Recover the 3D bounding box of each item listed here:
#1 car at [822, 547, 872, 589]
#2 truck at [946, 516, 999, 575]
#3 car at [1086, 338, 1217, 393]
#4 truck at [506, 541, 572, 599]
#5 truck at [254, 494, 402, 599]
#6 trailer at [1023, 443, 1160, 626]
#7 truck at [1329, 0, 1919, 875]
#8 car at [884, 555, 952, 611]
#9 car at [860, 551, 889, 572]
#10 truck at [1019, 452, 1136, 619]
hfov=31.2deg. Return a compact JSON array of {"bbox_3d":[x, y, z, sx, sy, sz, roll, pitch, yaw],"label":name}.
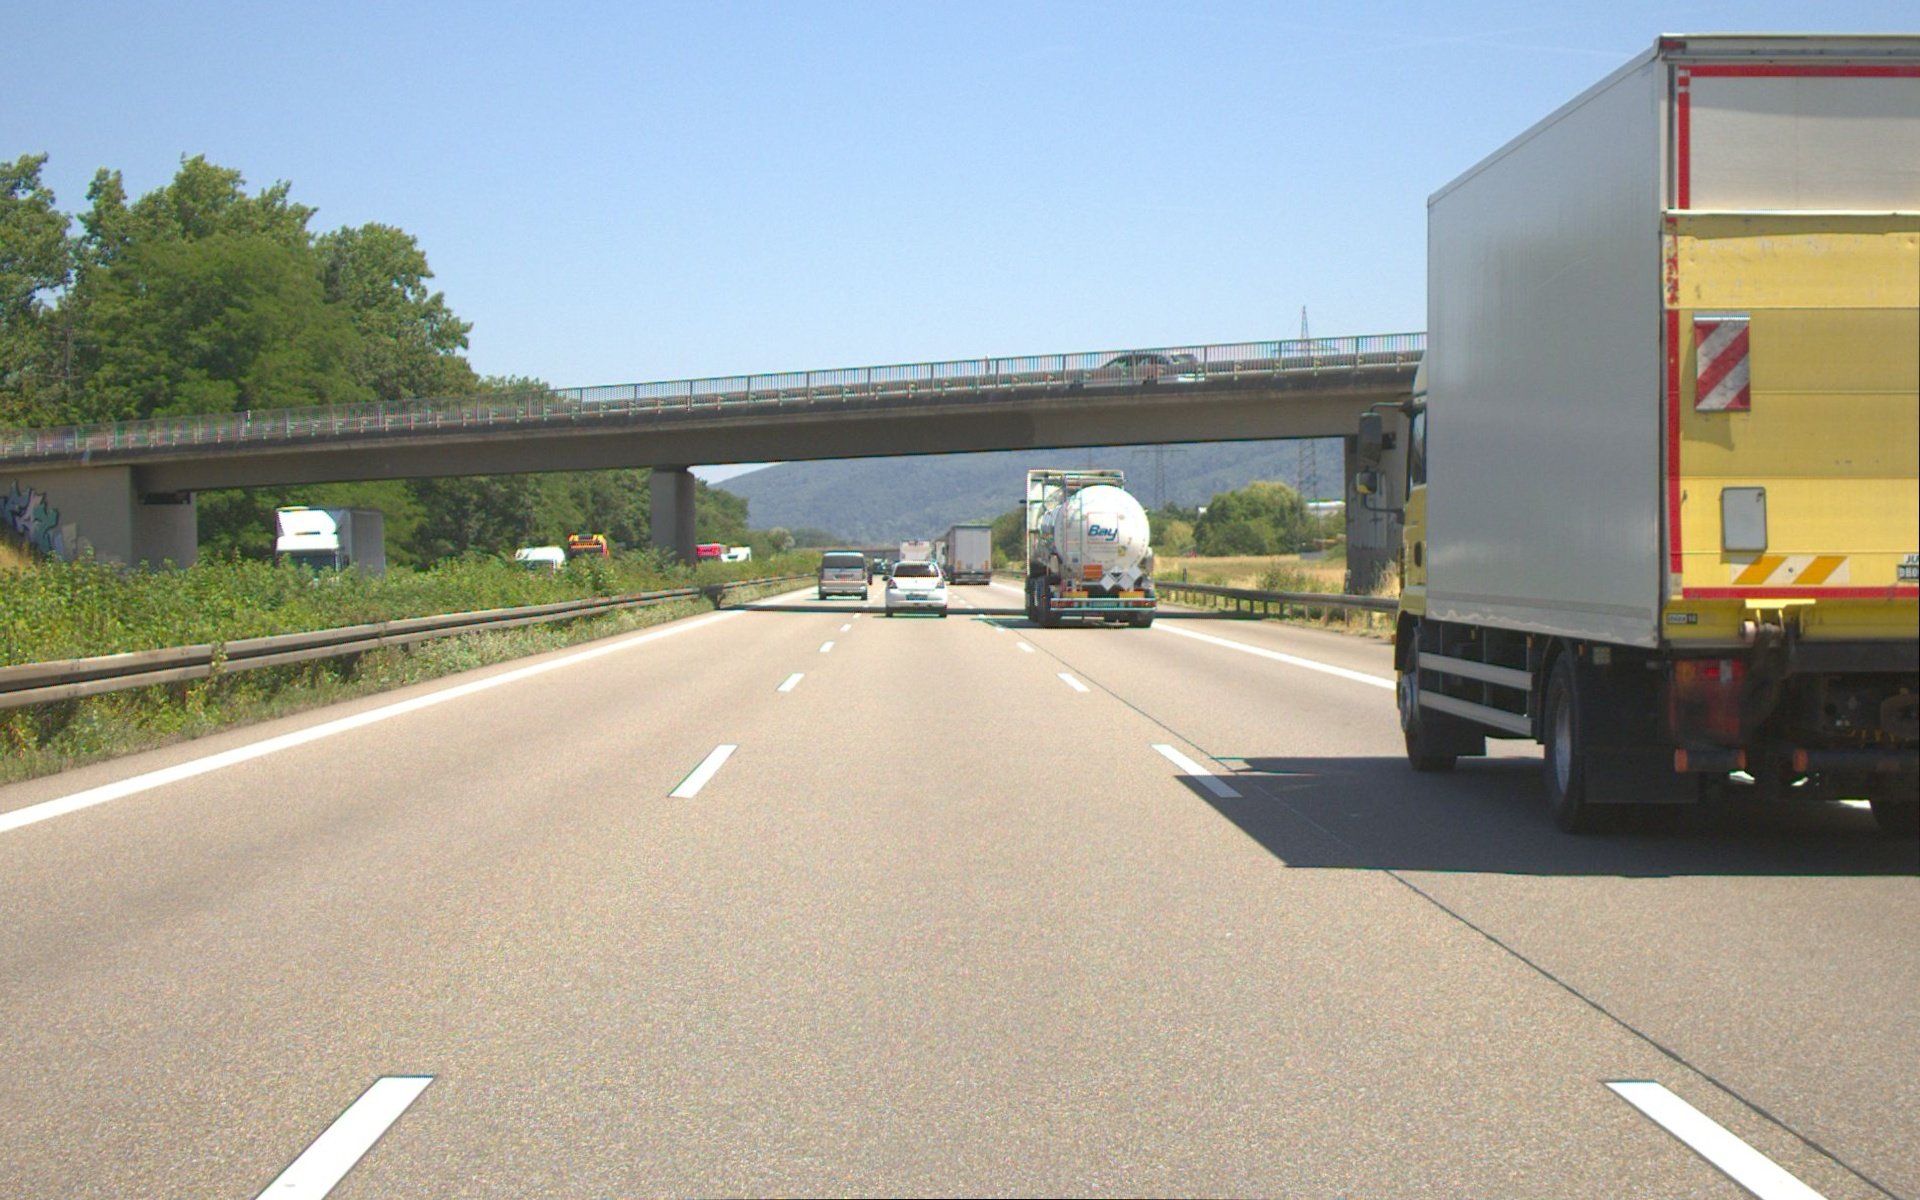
[{"bbox_3d":[-4.477,-1.286,136.720,1.852,1.627,4.000,1,1,-1],"label":"car"},{"bbox_3d":[0.800,-3.670,233.070,3.265,3.844,11.632,1,1,-1],"label":"truck"},{"bbox_3d":[5.790,-7.087,104.243,1.634,1.463,3.999,0,1,-40],"label":"car"},{"bbox_3d":[-18.017,-1.291,147.484,1.993,2.390,6.419,1,1,0],"label":"truck"},{"bbox_3d":[-22.278,-1.890,121.836,2.877,3.486,10.735,1,1,2],"label":"truck"},{"bbox_3d":[3.053,-1.555,82.955,2.580,4.060,11.104,1,1,-1],"label":"trailer"},{"bbox_3d":[4.461,-0.888,21.315,2.933,4.185,10.682,1,1,-1],"label":"truck"},{"bbox_3d":[-1.146,-0.478,94.527,1.806,1.463,4.000,1,1,-1],"label":"car"},{"bbox_3d":[-5.660,-2.556,228.084,1.835,1.382,4.000,1,1,-1],"label":"car"},{"bbox_3d":[2.942,-1.625,87.718,2.573,4.058,6.393,1,1,-1],"label":"truck"}]
